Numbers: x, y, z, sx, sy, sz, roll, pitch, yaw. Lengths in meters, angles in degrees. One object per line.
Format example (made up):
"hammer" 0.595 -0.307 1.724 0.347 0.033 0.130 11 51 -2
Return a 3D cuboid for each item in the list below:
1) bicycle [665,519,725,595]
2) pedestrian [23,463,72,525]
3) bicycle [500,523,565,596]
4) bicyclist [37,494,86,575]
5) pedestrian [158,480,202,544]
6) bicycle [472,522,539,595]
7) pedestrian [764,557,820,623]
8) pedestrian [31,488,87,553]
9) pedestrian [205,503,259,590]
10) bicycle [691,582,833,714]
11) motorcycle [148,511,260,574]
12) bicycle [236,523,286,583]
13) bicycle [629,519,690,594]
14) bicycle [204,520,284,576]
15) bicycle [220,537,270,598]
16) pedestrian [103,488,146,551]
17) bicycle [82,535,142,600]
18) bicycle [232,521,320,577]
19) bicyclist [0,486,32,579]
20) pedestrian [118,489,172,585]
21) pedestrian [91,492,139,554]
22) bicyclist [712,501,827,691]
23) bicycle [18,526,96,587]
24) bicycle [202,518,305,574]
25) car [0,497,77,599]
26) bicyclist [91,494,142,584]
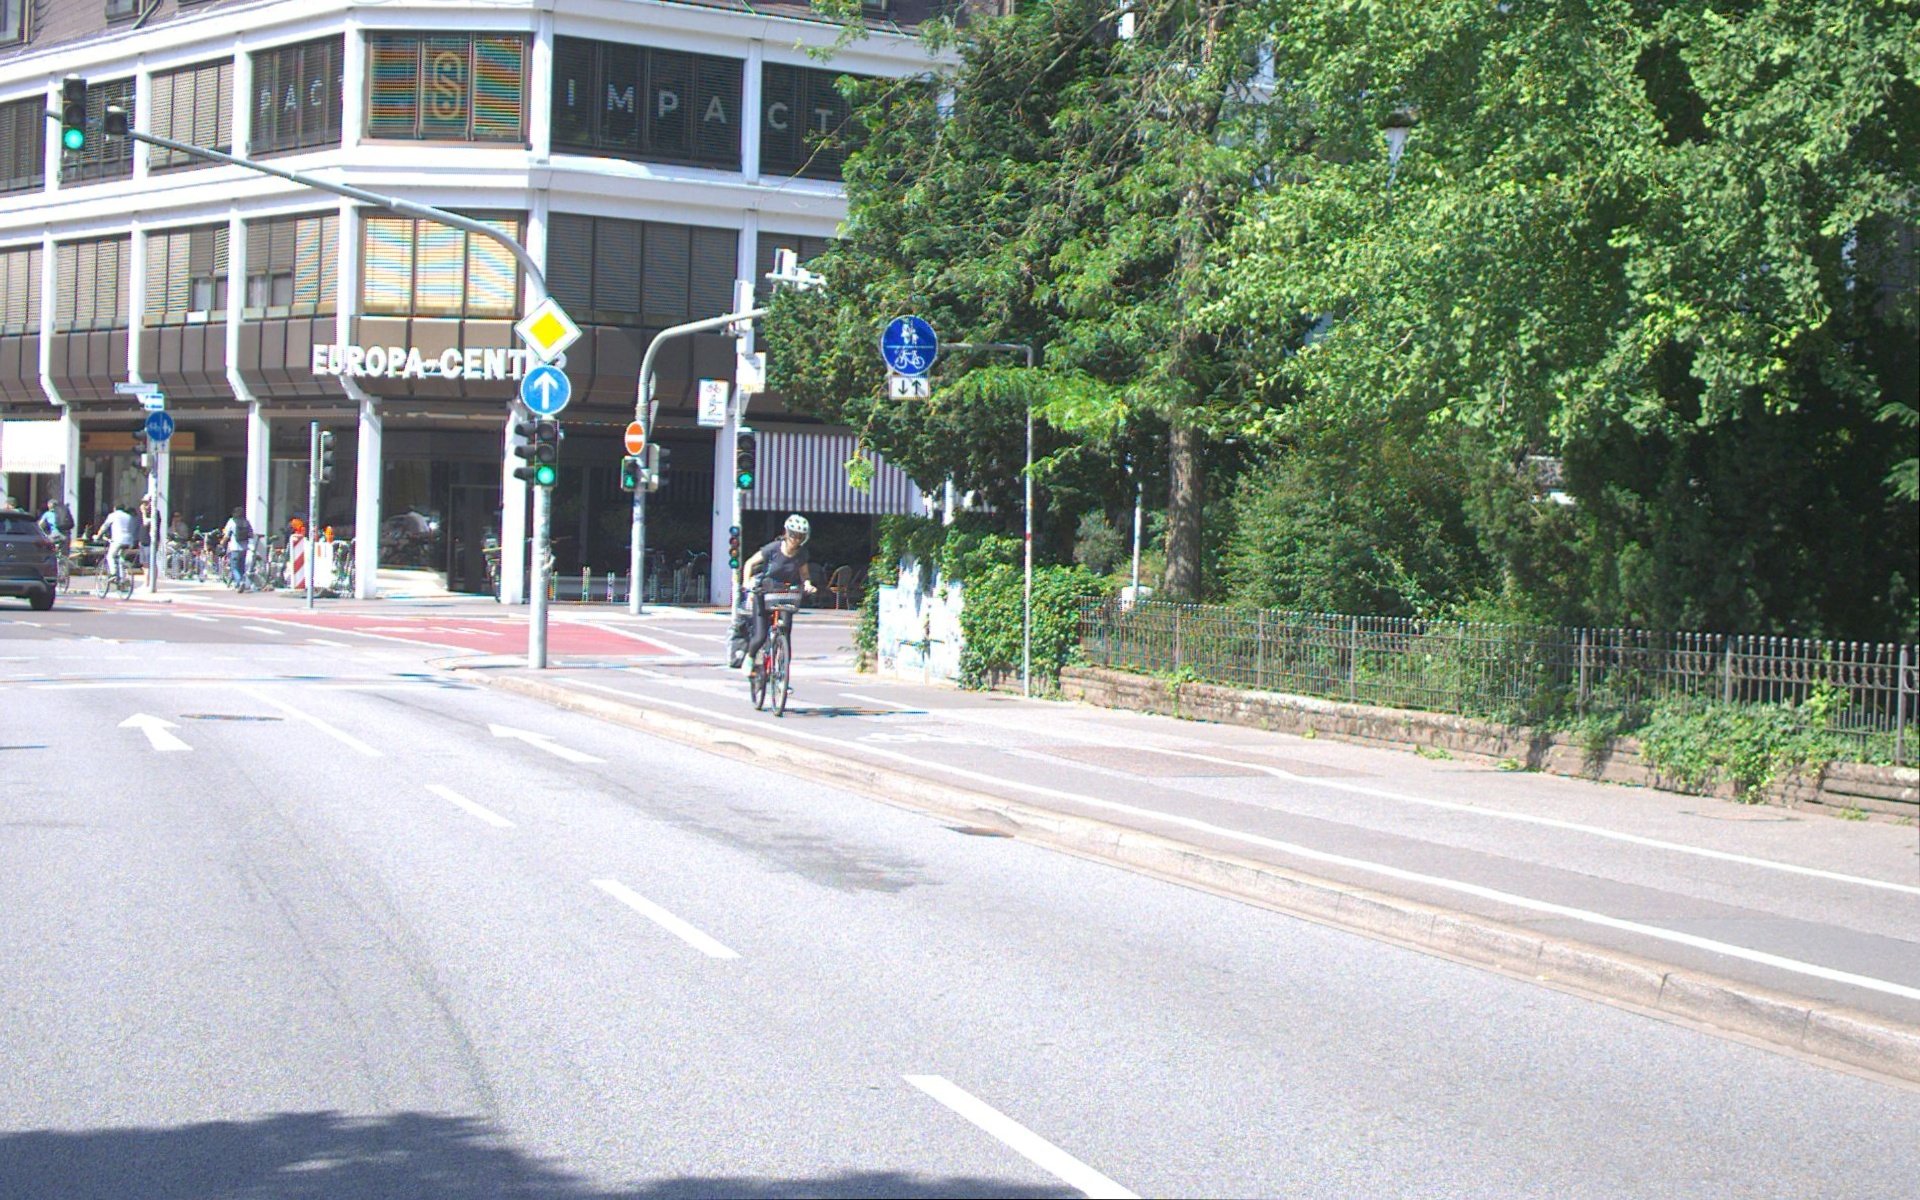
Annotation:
"bicycle" -5.212 -0.857 67.717 0.529 1.417 1.966 2 3 15
"pedestrian" -21.967 -2.565 82.770 0.745 1.362 0.584 -16 12 -37
"bicycle" -8.077 -0.783 65.010 0.529 1.312 1.858 2 3 15
"bicyclist" -17.199 -1.256 65.786 0.620 1.524 0.869 1 1 -33
"pedestrian" -17.346 -1.954 76.482 0.711 1.392 0.696 0 1 -38
"bicycle" -8.599 -0.790 65.086 0.529 1.312 1.966 2 3 15
"pedestrian" -3.447 -0.213 70.640 0.827 1.330 0.971 2 1 17
"pedestrian" -21.467 -1.898 81.918 0.877 1.363 0.537 16 -8 -38
"pedestrian" -14.114 -1.034 66.672 0.832 1.657 0.697 1 0 -28
"bicycle" -1.763 0.408 30.317 0.757 1.116 2.002 1 0 -18
"motorcycle" -16.038 -1.224 72.988 2.235 1.286 0.949 1 1 -9
"bicycle" -13.833 -0.941 68.006 0.277 1.116 2.244 1 2 -29
"bicycle" -5.884 -0.864 67.493 0.529 1.417 1.966 2 3 15
"bicycle" -14.518 -1.063 69.702 1.570 1.116 0.277 -1 3 -30
"bicycle" -14.058 -0.642 67.555 0.277 1.116 2.244 1 2 -29
"pedestrian" -18.940 -1.822 77.914 0.711 1.392 0.696 0 1 -38
"bicycle" -15.539 -0.601 62.982 0.594 1.116 1.801 1 2 -29
"bicycle" -13.749 -1.027 69.124 1.716 1.116 0.277 -1 3 -30
"bicyclist" -17.574 -1.255 63.054 0.694 1.668 0.915 4 1 -36
"pedestrian" -15.749 -1.208 66.435 0.832 1.829 0.697 1 0 -28
"pedestrian" -19.338 -1.764 78.672 0.813 1.392 0.696 1 1 -39
"bicyclist" -1.669 -0.041 30.054 0.764 1.630 0.944 1 0 -18
"bicycle" -17.339 -0.847 65.980 0.620 1.095 2.352 1 1 -35
"bicycle" -14.568 -1.107 70.953 2.237 1.116 0.277 1 2 -44
"car" -15.306 -0.810 52.843 1.834 1.522 3.999 -1 2 -40
"bicyclist" -15.388 -1.111 62.700 0.694 1.620 0.835 0 2 -28
